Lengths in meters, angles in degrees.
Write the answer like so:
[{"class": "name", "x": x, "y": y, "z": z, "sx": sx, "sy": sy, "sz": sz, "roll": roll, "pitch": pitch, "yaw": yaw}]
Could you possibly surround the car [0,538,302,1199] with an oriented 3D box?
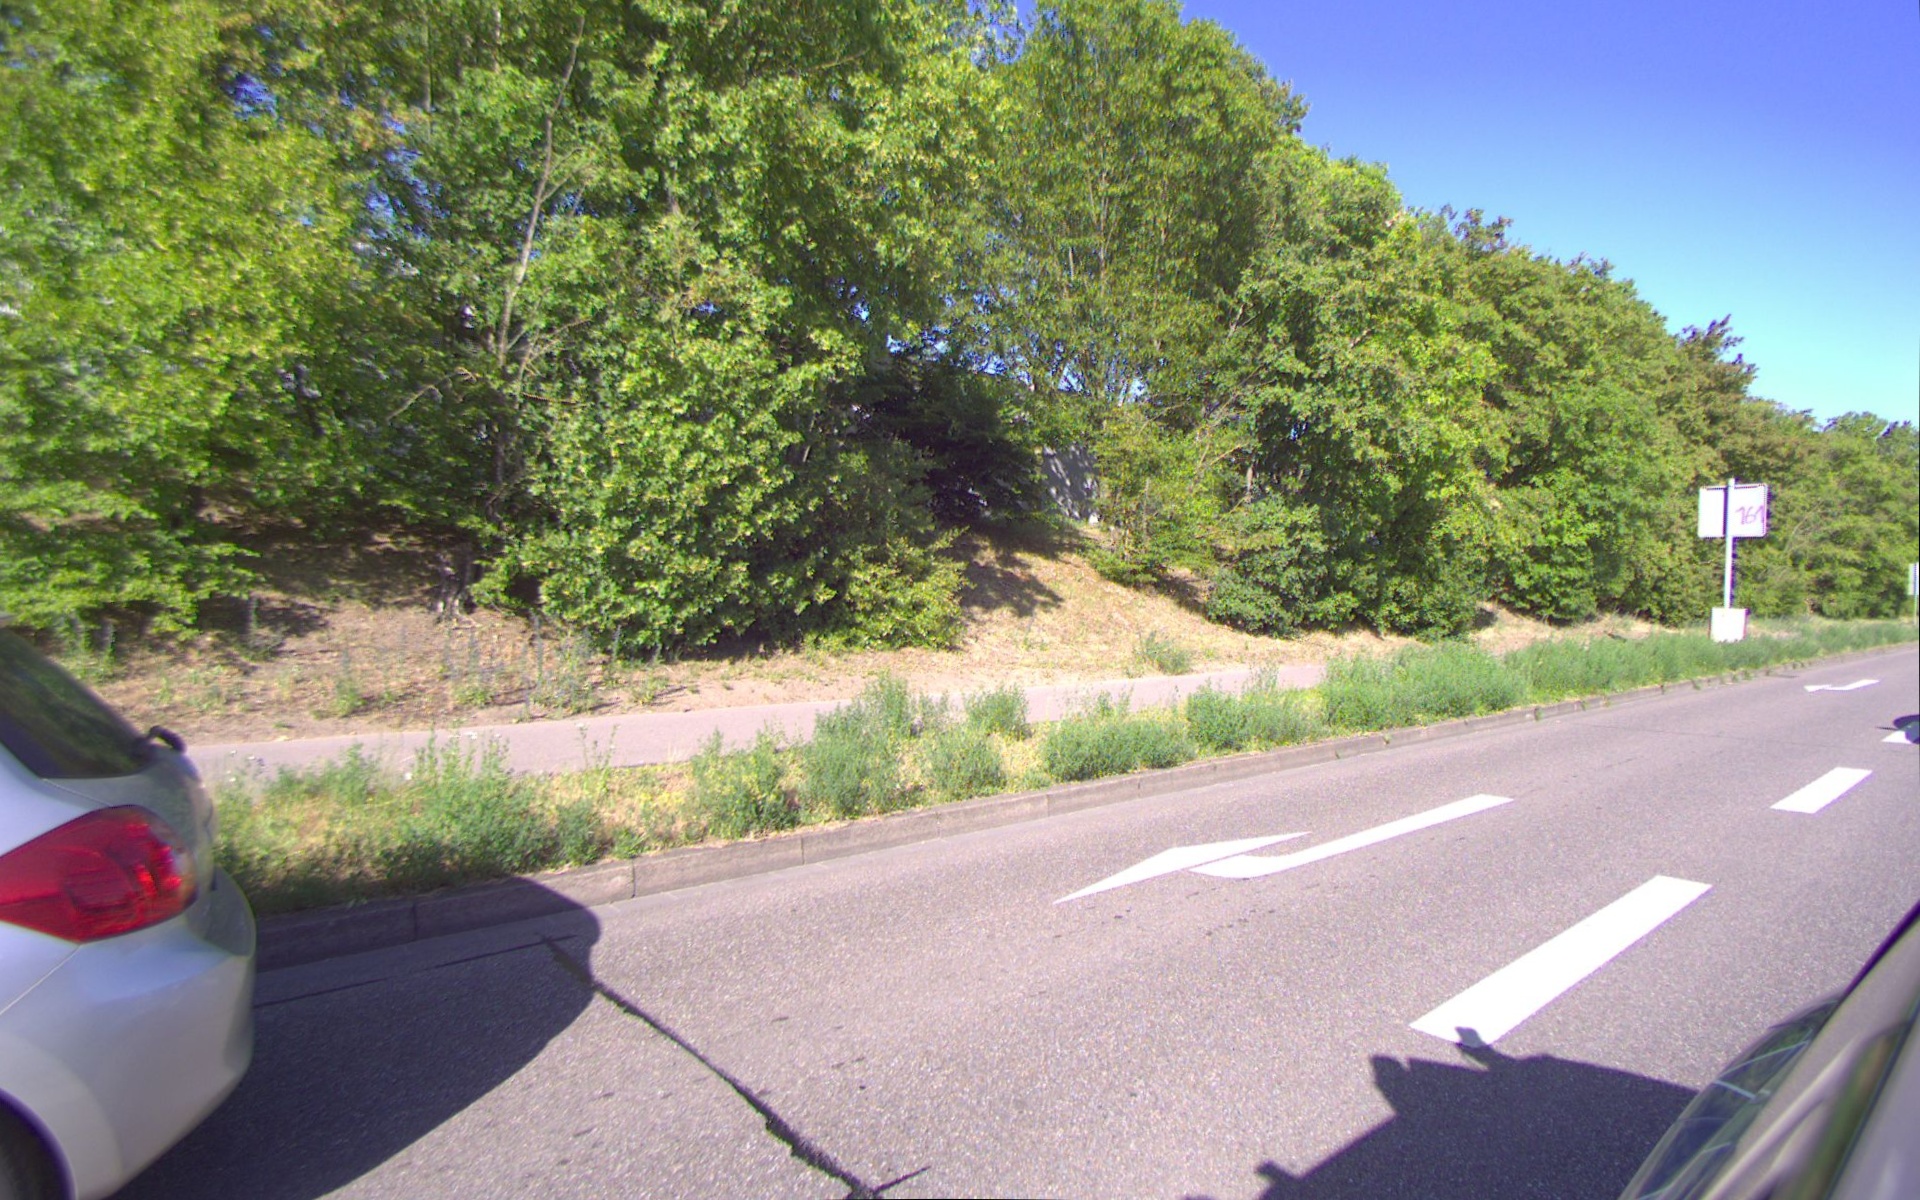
[{"class": "car", "x": -3.482, "y": 0.658, "z": 1.473, "sx": 4.036, "sy": 1.556, "sz": 1.786, "roll": 0, "pitch": 0, "yaw": -41}]
